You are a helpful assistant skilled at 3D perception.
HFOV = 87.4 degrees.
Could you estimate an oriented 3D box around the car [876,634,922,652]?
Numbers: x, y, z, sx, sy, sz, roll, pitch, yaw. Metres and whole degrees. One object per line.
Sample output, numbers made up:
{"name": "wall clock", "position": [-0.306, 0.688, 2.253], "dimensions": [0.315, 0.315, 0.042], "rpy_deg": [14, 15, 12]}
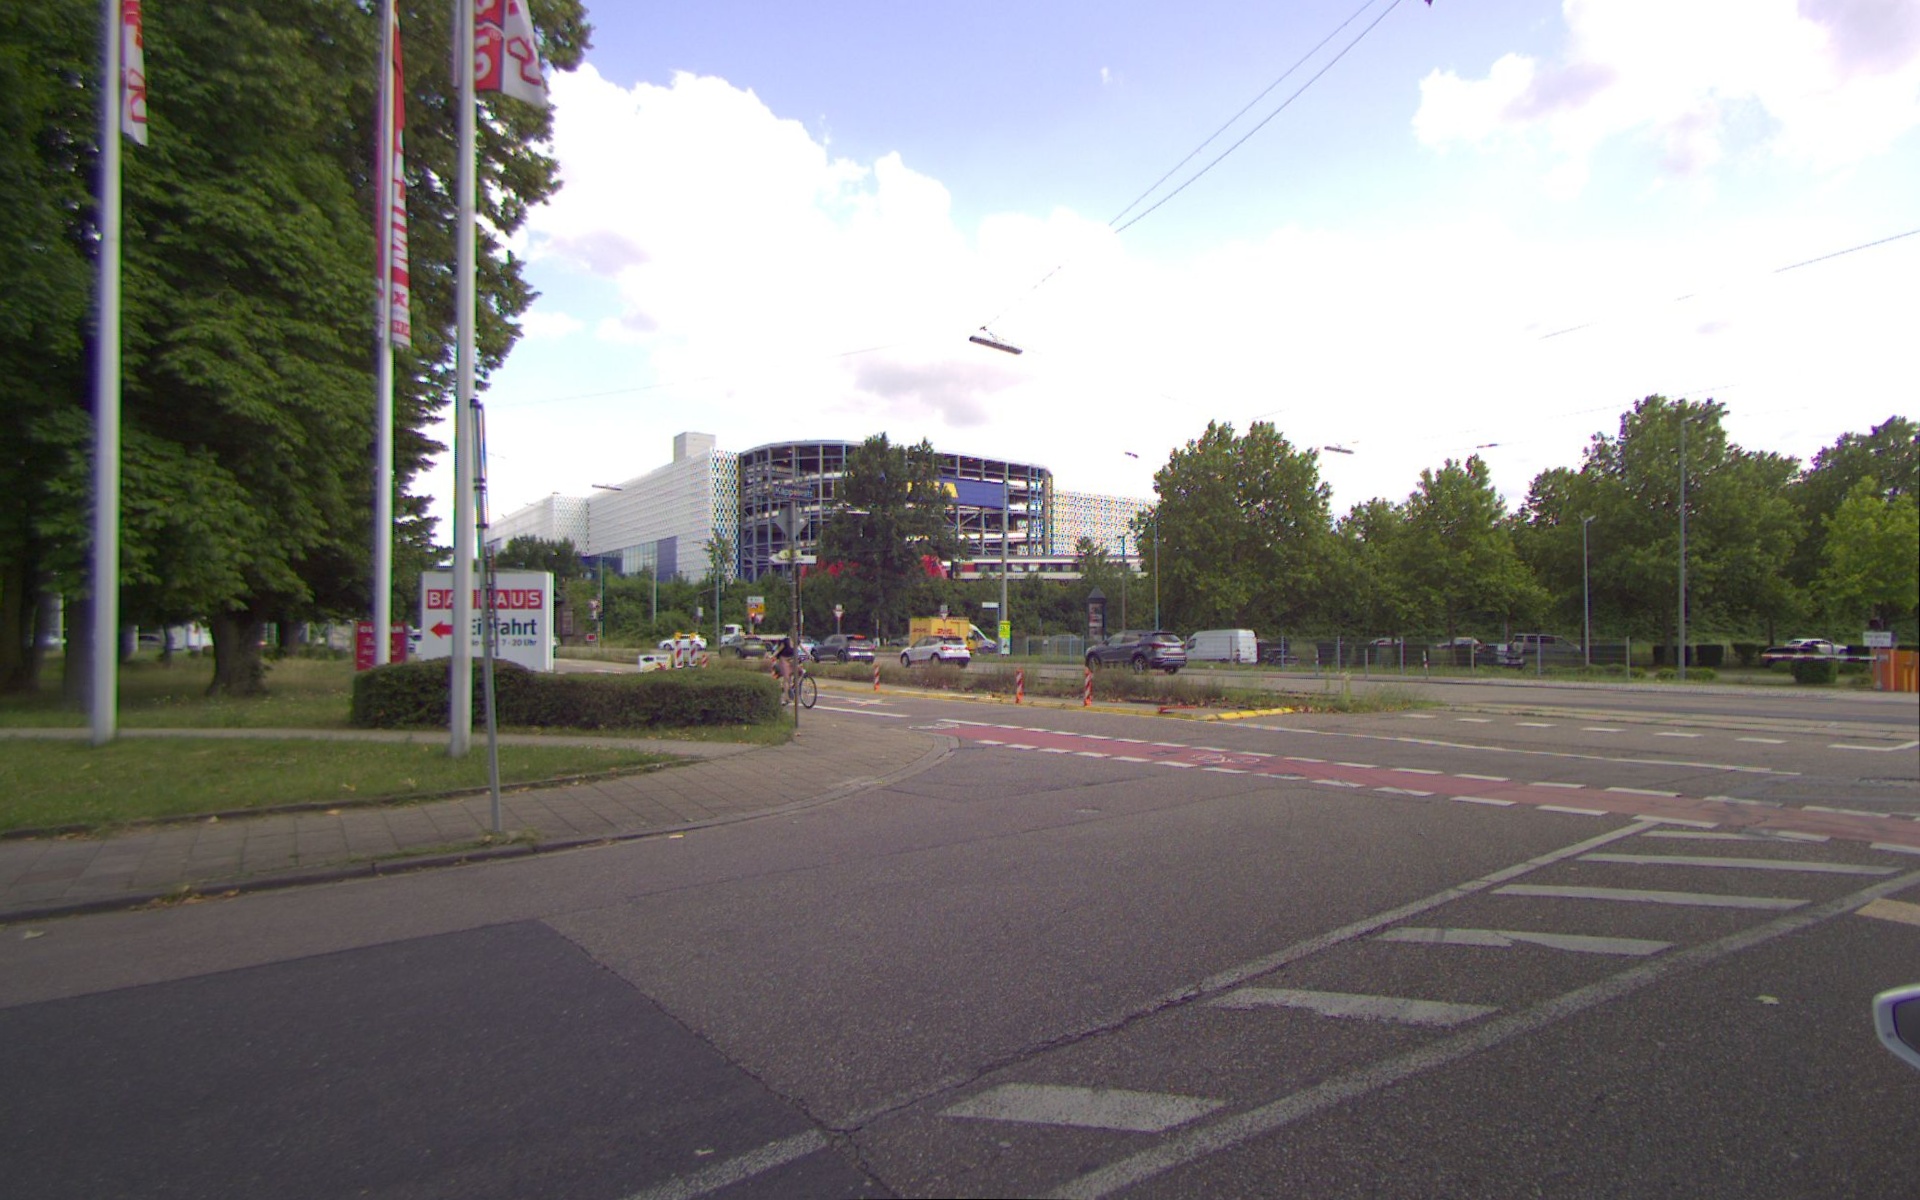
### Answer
{"name": "car", "position": [-5.364, 3.778, 89.143], "dimensions": [3.920, 1.577, 1.875], "rpy_deg": [0, -1, 1]}

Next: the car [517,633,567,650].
{"name": "car", "position": [-38.697, 3.810, 93.049], "dimensions": [3.834, 1.523, 1.874], "rpy_deg": [0, -1, -3]}

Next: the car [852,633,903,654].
{"name": "car", "position": [-7.086, 3.762, 86.602], "dimensions": [4.298, 1.814, 1.920], "rpy_deg": [0, -1, -3]}

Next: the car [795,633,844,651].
{"name": "car", "position": [-11.697, 3.502, 83.881], "dimensions": [3.922, 1.532, 1.920], "rpy_deg": [0, -1, -3]}

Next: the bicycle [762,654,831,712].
{"name": "bicycle", "position": [-3.583, 1.777, 21.905], "dimensions": [0.723, 1.181, 1.796], "rpy_deg": [-1, -2, -37]}

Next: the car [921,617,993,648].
{"name": "car", "position": [-0.265, 2.626, 81.182], "dimensions": [5.794, 2.474, 2.211], "rpy_deg": [0, -1, -2]}

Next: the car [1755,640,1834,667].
{"name": "car", "position": [56.208, 3.595, 67.768], "dimensions": [1.873, 1.724, 3.999], "rpy_deg": [0, -2, -4]}

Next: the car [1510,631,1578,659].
{"name": "car", "position": [47.391, 3.644, 81.558], "dimensions": [4.481, 2.163, 1.860], "rpy_deg": [0, -1, -4]}

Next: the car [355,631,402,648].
{"name": "car", "position": [-62.415, 4.261, 107.810], "dimensions": [3.921, 1.808, 1.892], "rpy_deg": [0, -2, 1]}

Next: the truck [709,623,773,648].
{"name": "truck", "position": [-20.552, 3.356, 94.371], "dimensions": [5.625, 2.319, 2.033], "rpy_deg": [0, -1, -3]}

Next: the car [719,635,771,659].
{"name": "car", "position": [-13.865, 3.000, 64.604], "dimensions": [1.781, 1.424, 3.988], "rpy_deg": [1, -2, -37]}

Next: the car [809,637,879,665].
{"name": "car", "position": [-6.326, 2.727, 54.499], "dimensions": [1.906, 1.424, 4.190], "rpy_deg": [1, -2, -37]}

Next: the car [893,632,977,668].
{"name": "car", "position": [-1.225, 2.343, 47.625], "dimensions": [1.906, 1.600, 4.190], "rpy_deg": [1, -2, -37]}

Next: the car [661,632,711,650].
{"name": "car", "position": [-24.325, 3.613, 89.354], "dimensions": [3.922, 1.577, 1.874], "rpy_deg": [0, -1, -3]}

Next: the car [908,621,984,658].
{"name": "car", "position": [-0.973, 2.912, 74.272], "dimensions": [2.171, 2.612, 6.381], "rpy_deg": [-1, -2, 37]}

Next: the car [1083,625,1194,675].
{"name": "car", "position": [6.971, 1.924, 39.625], "dimensions": [1.947, 1.839, 4.238], "rpy_deg": [1, -2, -32]}

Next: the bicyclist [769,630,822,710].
{"name": "bicyclist", "position": [-3.598, 1.518, 21.926], "dimensions": [0.727, 1.669, 1.000], "rpy_deg": [-1, -2, -36]}

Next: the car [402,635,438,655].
{"name": "car", "position": [-42.601, 3.486, 79.143], "dimensions": [1.854, 1.505, 3.956], "rpy_deg": [1, -2, -38]}

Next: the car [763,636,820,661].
{"name": "car", "position": [-10.093, 2.876, 59.975], "dimensions": [1.781, 1.424, 3.988], "rpy_deg": [1, -2, -37]}

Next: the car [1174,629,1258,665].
{"name": "car", "position": [16.538, 3.042, 65.132], "dimensions": [1.782, 2.240, 5.245], "rpy_deg": [2, -3, -38]}

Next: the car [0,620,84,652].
{"name": "car", "position": [-73.729, 2.868, 79.906], "dimensions": [5.794, 2.474, 2.366], "rpy_deg": [0, -1, -2]}

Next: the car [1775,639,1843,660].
{"name": "car", "position": [71.902, 4.161, 85.077], "dimensions": [4.217, 1.744, 1.920], "rpy_deg": [0, -1, -3]}
